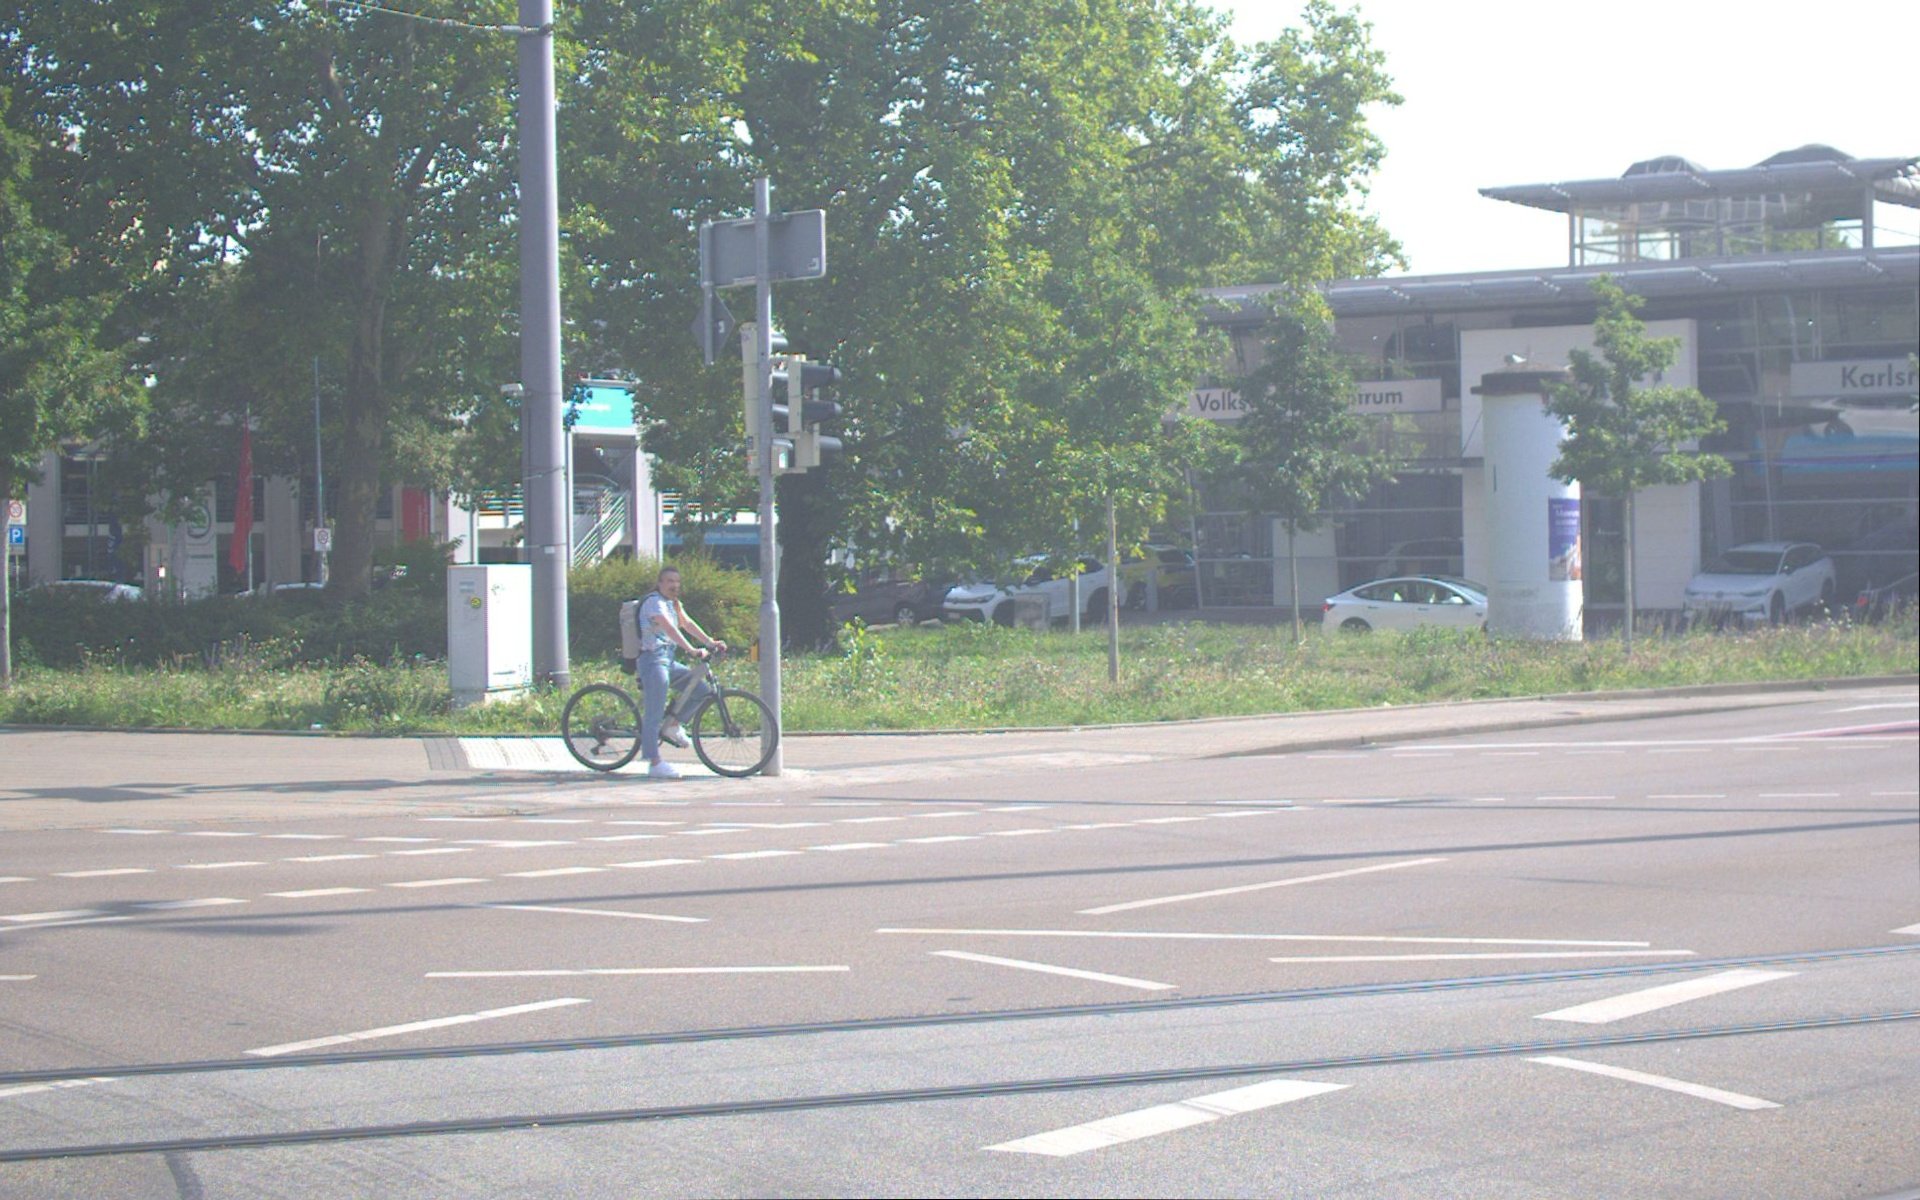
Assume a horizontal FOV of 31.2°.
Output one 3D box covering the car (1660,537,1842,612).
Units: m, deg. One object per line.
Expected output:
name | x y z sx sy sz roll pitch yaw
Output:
car | 16.279 -0.539 70.622 1.998 1.457 4.315 0 1 38

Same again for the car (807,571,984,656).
car | -1.587 0.315 83.803 3.996 2.007 1.942 0 1 39

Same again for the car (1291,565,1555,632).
car | 8.538 -0.030 63.414 4.391 1.161 1.997 0 1 29

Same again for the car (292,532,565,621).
car | -8.759 -0.401 56.783 3.989 1.371 1.999 -1 1 12

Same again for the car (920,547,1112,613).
car | 1.321 -0.473 80.249 4.048 1.457 2.000 -1 1 -34

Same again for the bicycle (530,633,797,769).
bicycle | -2.249 0.746 25.935 2.072 0.891 0.567 2 2 32

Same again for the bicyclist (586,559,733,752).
bicyclist | -2.261 0.405 25.928 0.819 1.422 0.729 0 1 31
